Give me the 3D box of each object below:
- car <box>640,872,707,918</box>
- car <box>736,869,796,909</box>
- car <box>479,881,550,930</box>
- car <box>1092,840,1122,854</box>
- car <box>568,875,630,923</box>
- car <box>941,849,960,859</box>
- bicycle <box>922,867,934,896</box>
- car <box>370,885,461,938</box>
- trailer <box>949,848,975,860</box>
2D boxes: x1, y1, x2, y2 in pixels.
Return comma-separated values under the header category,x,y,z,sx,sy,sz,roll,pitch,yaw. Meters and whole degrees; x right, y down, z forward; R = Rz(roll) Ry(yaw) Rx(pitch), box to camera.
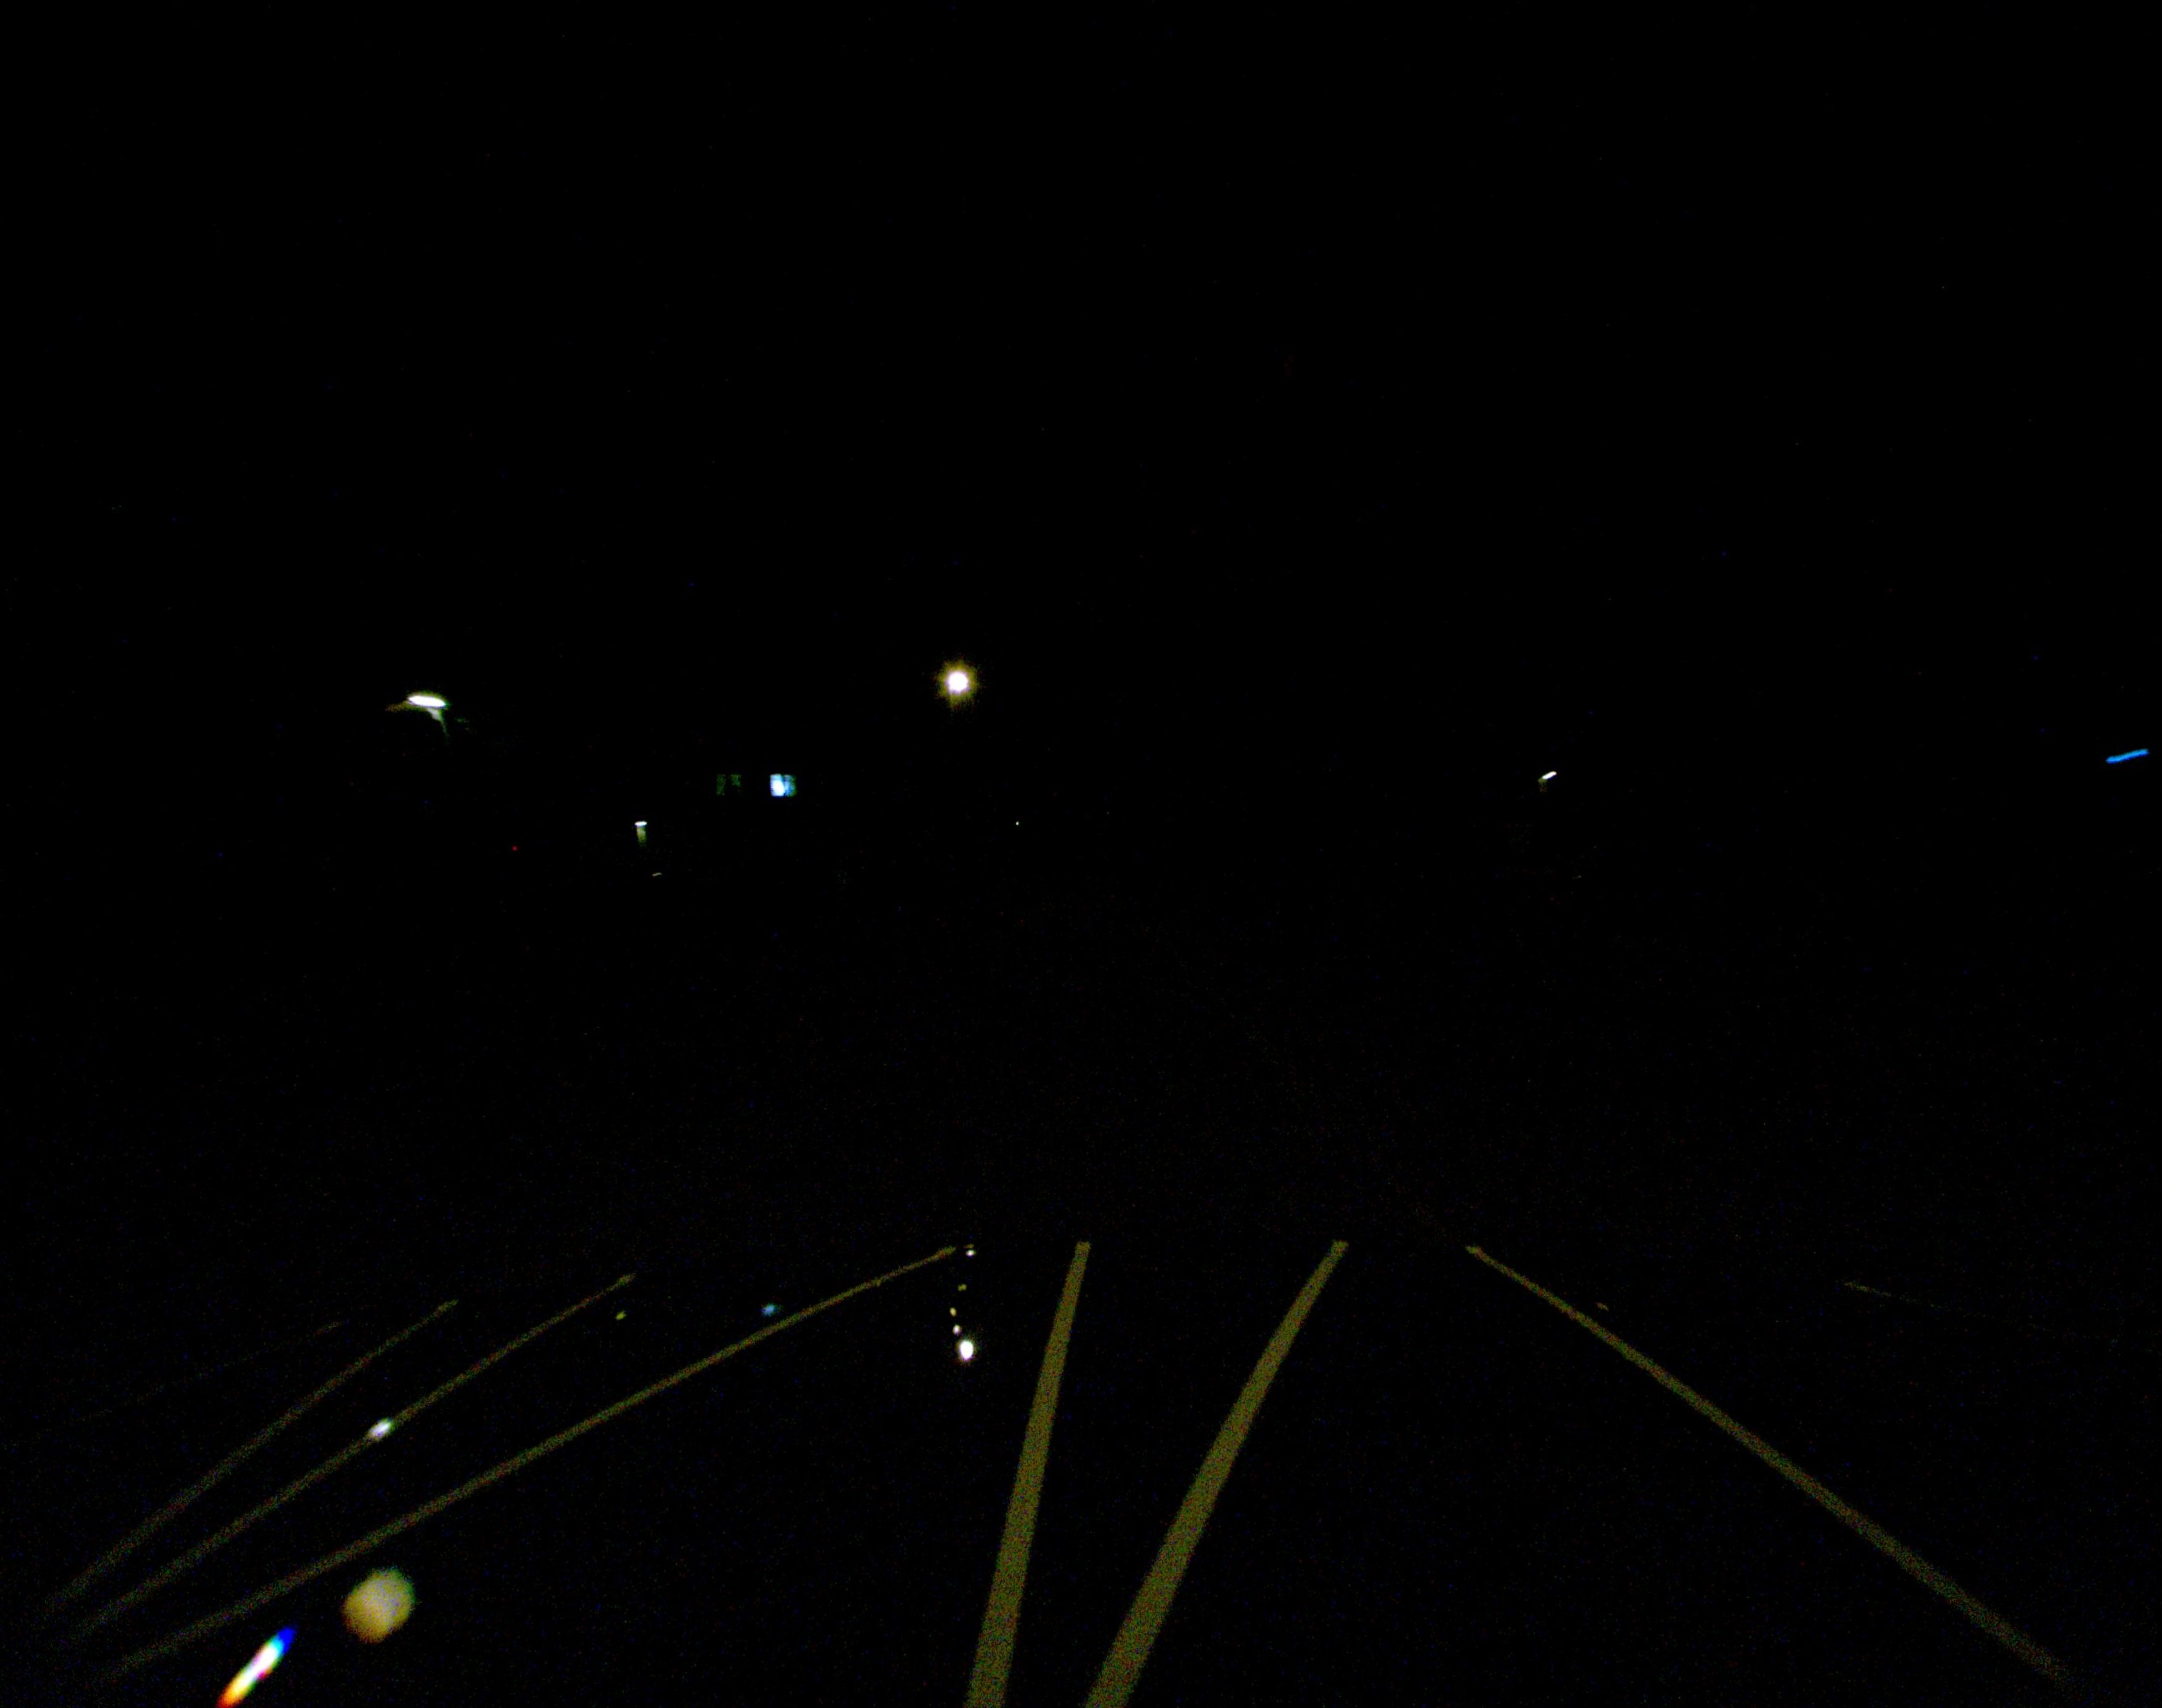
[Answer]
category,x,y,z,sx,sy,sz,roll,pitch,yaw
car,-16.335,1.567,30.349,1.926,1.556,4.402,-4,1,-33
car,-13.687,1.464,32.892,1.710,1.496,3.584,-4,1,-32
car,-20.817,1.829,28.043,1.765,1.506,3.861,-4,1,-33
car,3.776,-1.009,109.797,4.005,1.600,1.752,-6,4,-29
car,-18.611,1.671,29.338,1.816,1.606,4.089,-4,1,-33
car,-21.364,0.016,124.245,1.725,1.568,4.523,0,1,-30
bicycle,-6.200,1.097,30.834,0.296,0.977,1.942,-3,4,-8
car,-23.004,1.928,26.417,1.765,1.535,3.861,-3,0,-33
trailer,-18.791,-0.058,119.845,2.034,1.770,5.659,-2,1,-31
